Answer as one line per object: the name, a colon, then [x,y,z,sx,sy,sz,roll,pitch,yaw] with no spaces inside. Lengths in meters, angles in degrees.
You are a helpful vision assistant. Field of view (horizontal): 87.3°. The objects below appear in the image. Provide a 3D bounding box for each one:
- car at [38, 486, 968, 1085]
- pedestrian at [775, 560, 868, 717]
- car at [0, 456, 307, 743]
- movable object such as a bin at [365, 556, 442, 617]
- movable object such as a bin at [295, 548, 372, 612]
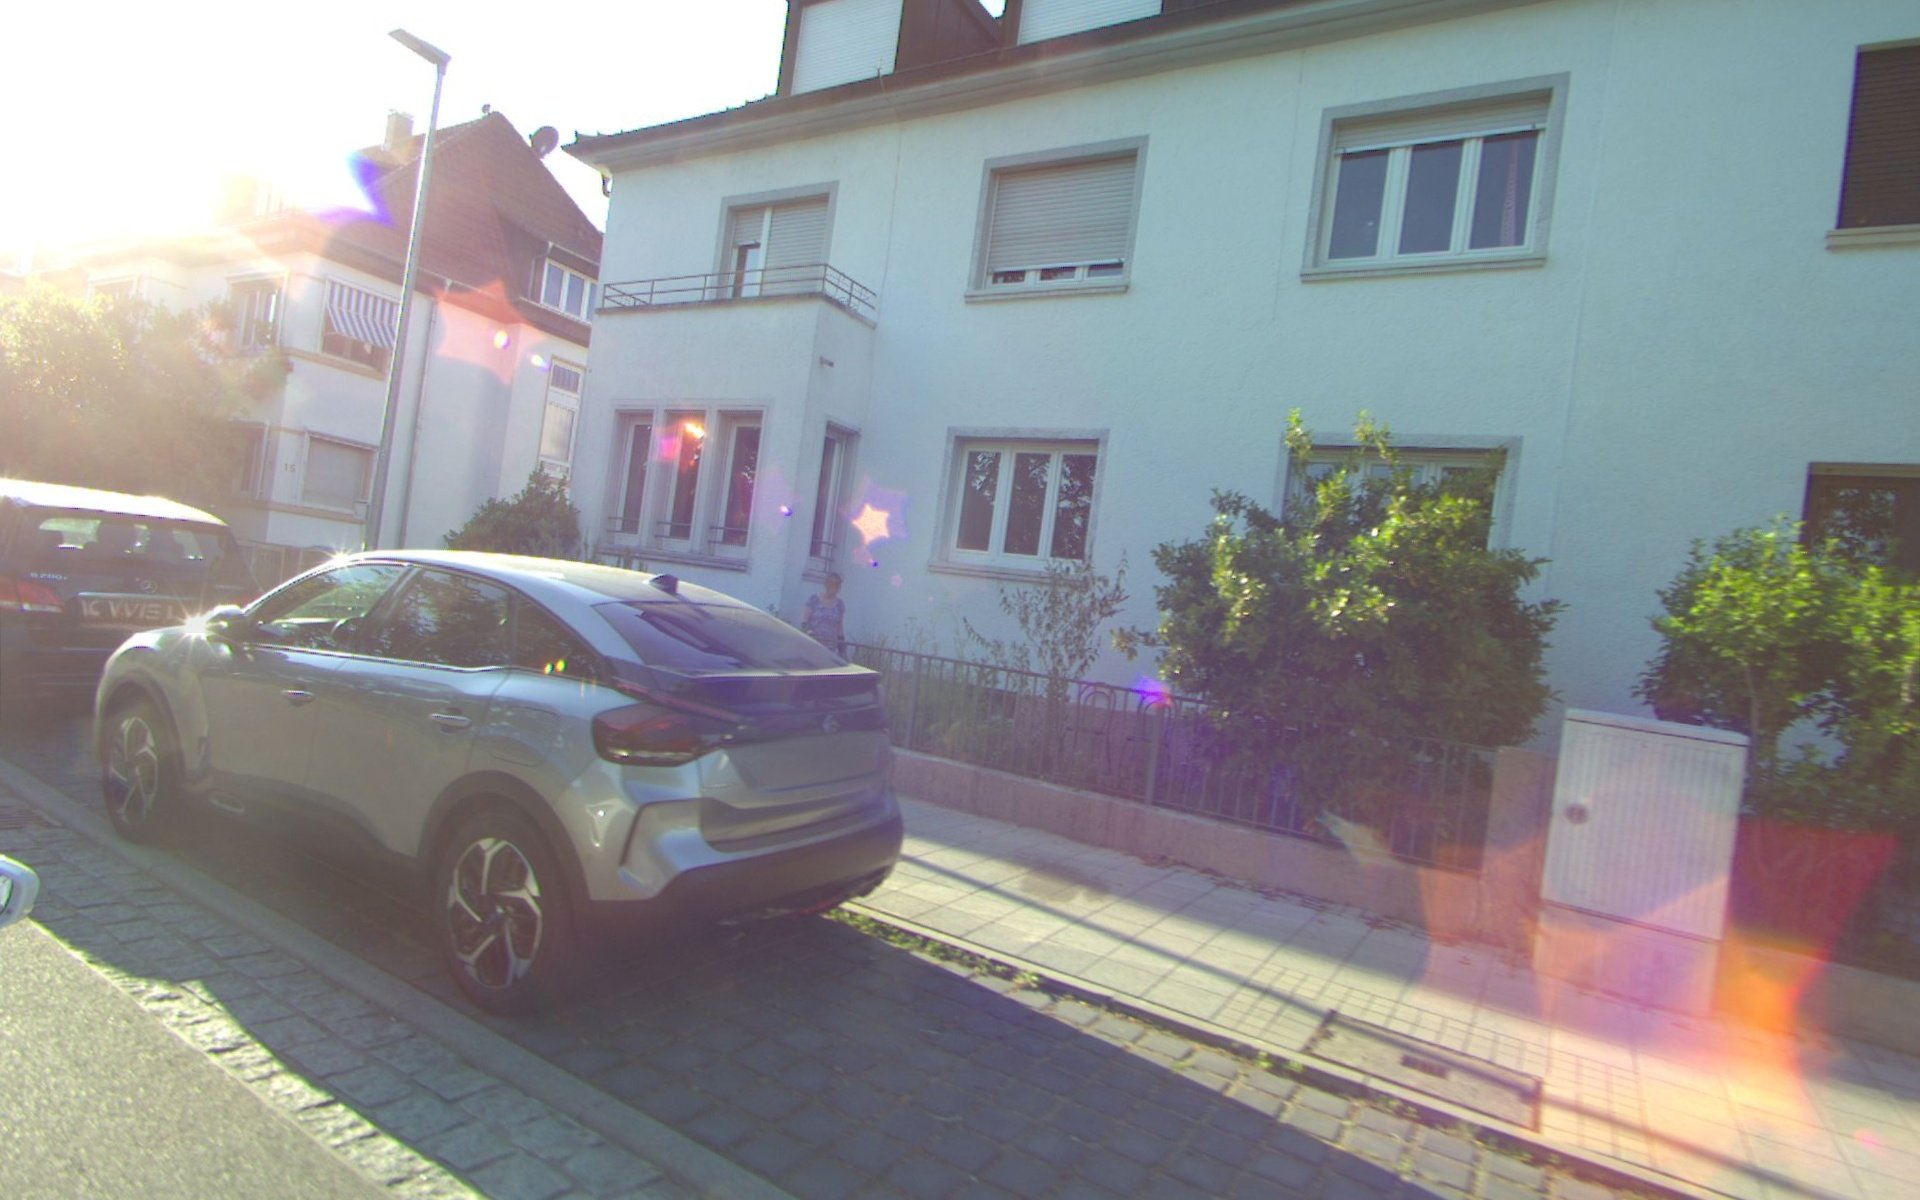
car: [-2.258,0.495,4.718,4.138,1.593,1.721,7,0,29]
pedestrian: [-1.506,0.413,10.920,0.591,1.595,0.625,9,-3,-32]
car: [-7.149,-0.187,7.724,4.342,1.706,1.834,7,1,32]
movable object such as a bin: [-11.926,-0.277,21.566,0.777,1.112,1.086,6,-3,35]
movable object such as a bin: [-12.789,-0.397,20.537,0.777,1.112,0.986,6,-3,36]
